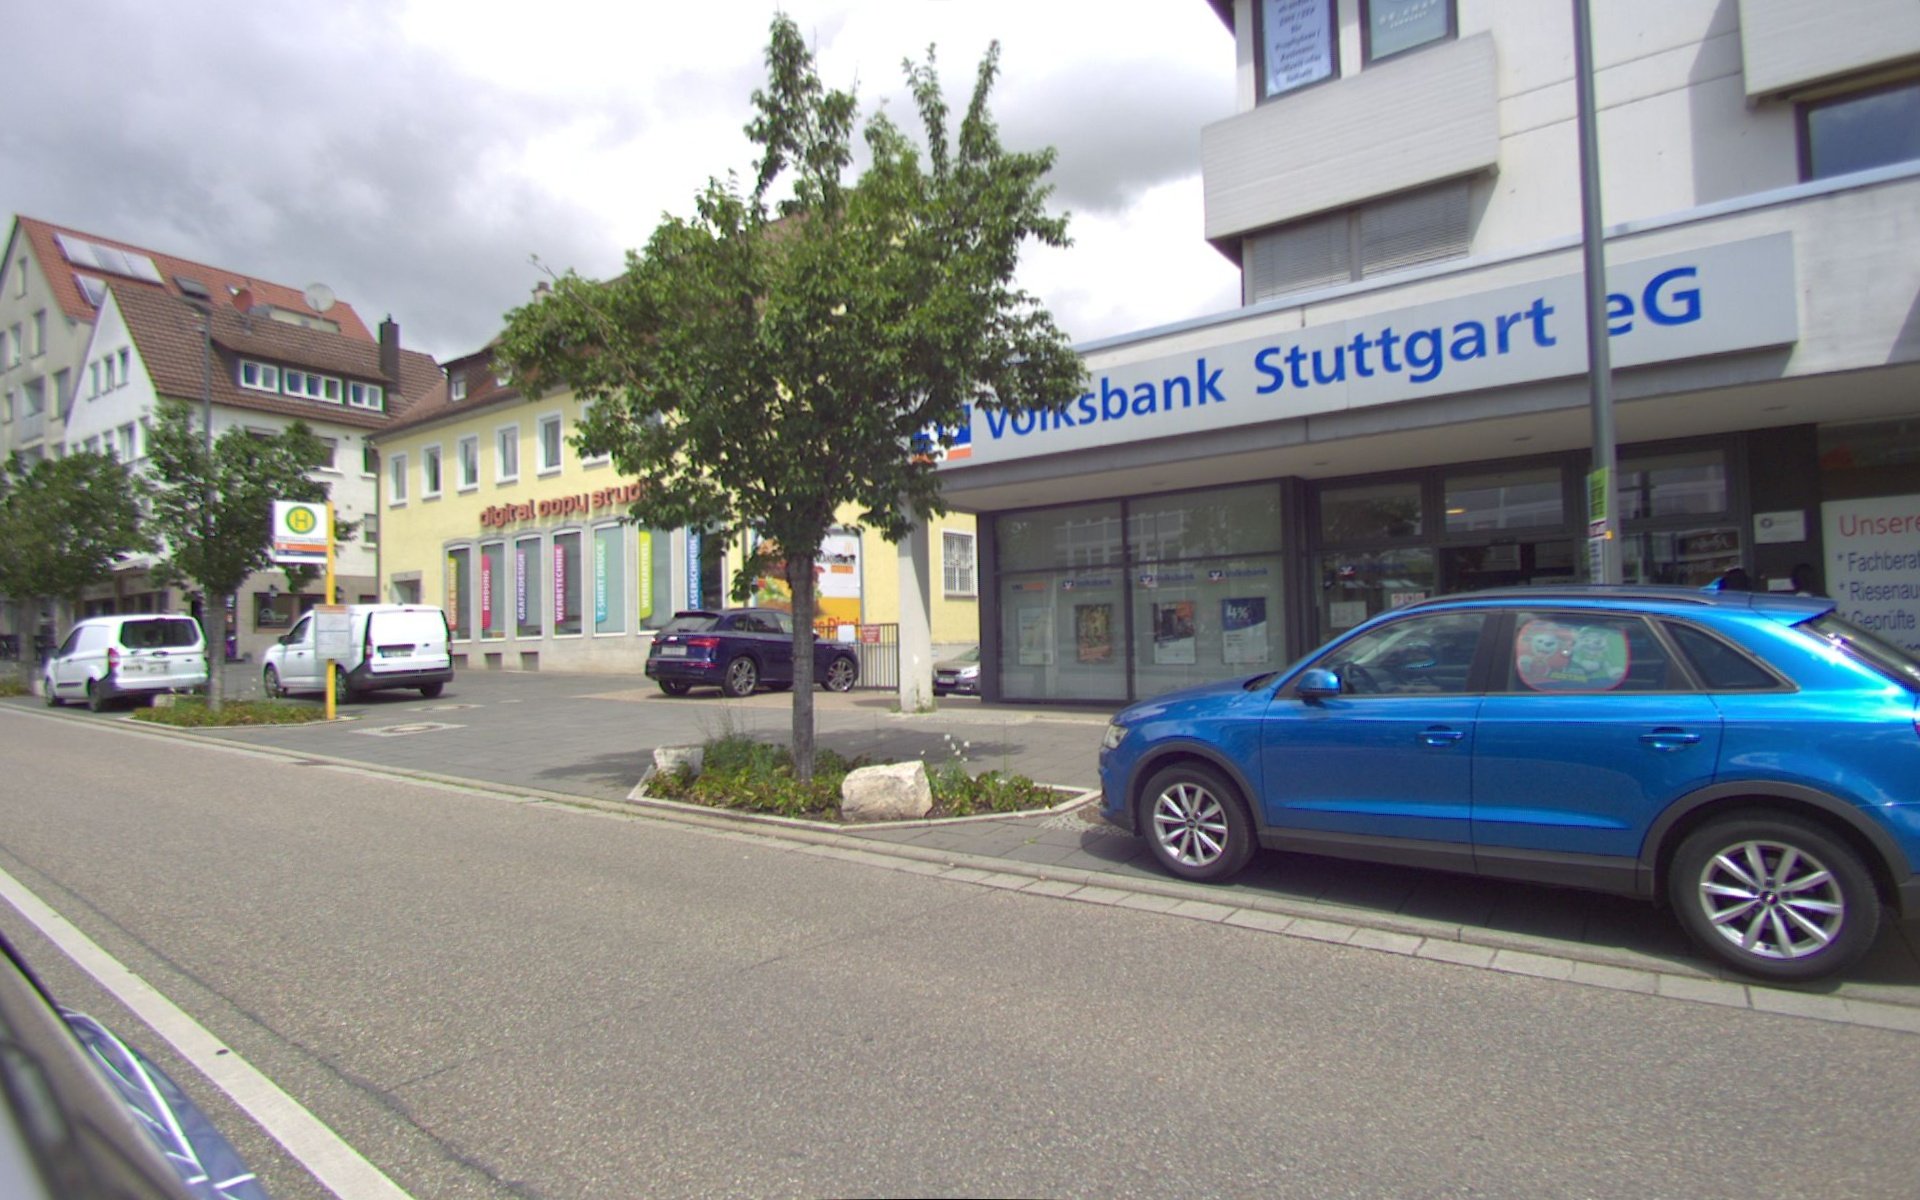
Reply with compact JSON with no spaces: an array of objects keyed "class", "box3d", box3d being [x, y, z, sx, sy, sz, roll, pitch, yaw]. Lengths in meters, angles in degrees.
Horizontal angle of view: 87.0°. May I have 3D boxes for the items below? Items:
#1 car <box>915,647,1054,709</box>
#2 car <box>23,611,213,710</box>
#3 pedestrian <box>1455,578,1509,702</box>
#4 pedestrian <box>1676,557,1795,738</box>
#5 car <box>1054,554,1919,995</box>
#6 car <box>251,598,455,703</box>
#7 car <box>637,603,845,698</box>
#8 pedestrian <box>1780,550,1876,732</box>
[{"class":"car","box3d":[0.713,1.936,26.038,1.646,1.420,3.951,-1,-2,36]},{"class":"car","box3d":[-16.123,1.083,19.315,4.339,1.684,1.643,-1,0,34]},{"class":"pedestrian","box3d":[7.443,0.580,14.449,0.584,1.718,0.639,-3,-4,27]},{"class":"pedestrian","box3d":[7.080,0.432,9.252,0.576,1.578,0.647,2,-3,-30]},{"class":"car","box3d":[2.786,0.648,5.409,4.328,1.611,1.677,-1,1,40]},{"class":"car","box3d":[-11.944,0.928,19.816,4.466,1.827,1.741,-1,0,35]},{"class":"car","box3d":[-3.968,0.864,18.757,1.665,1.570,3.595,-1,-1,35]},{"class":"pedestrian","box3d":[7.837,0.365,9.161,0.586,1.578,0.505,-2,-3,38]}]
